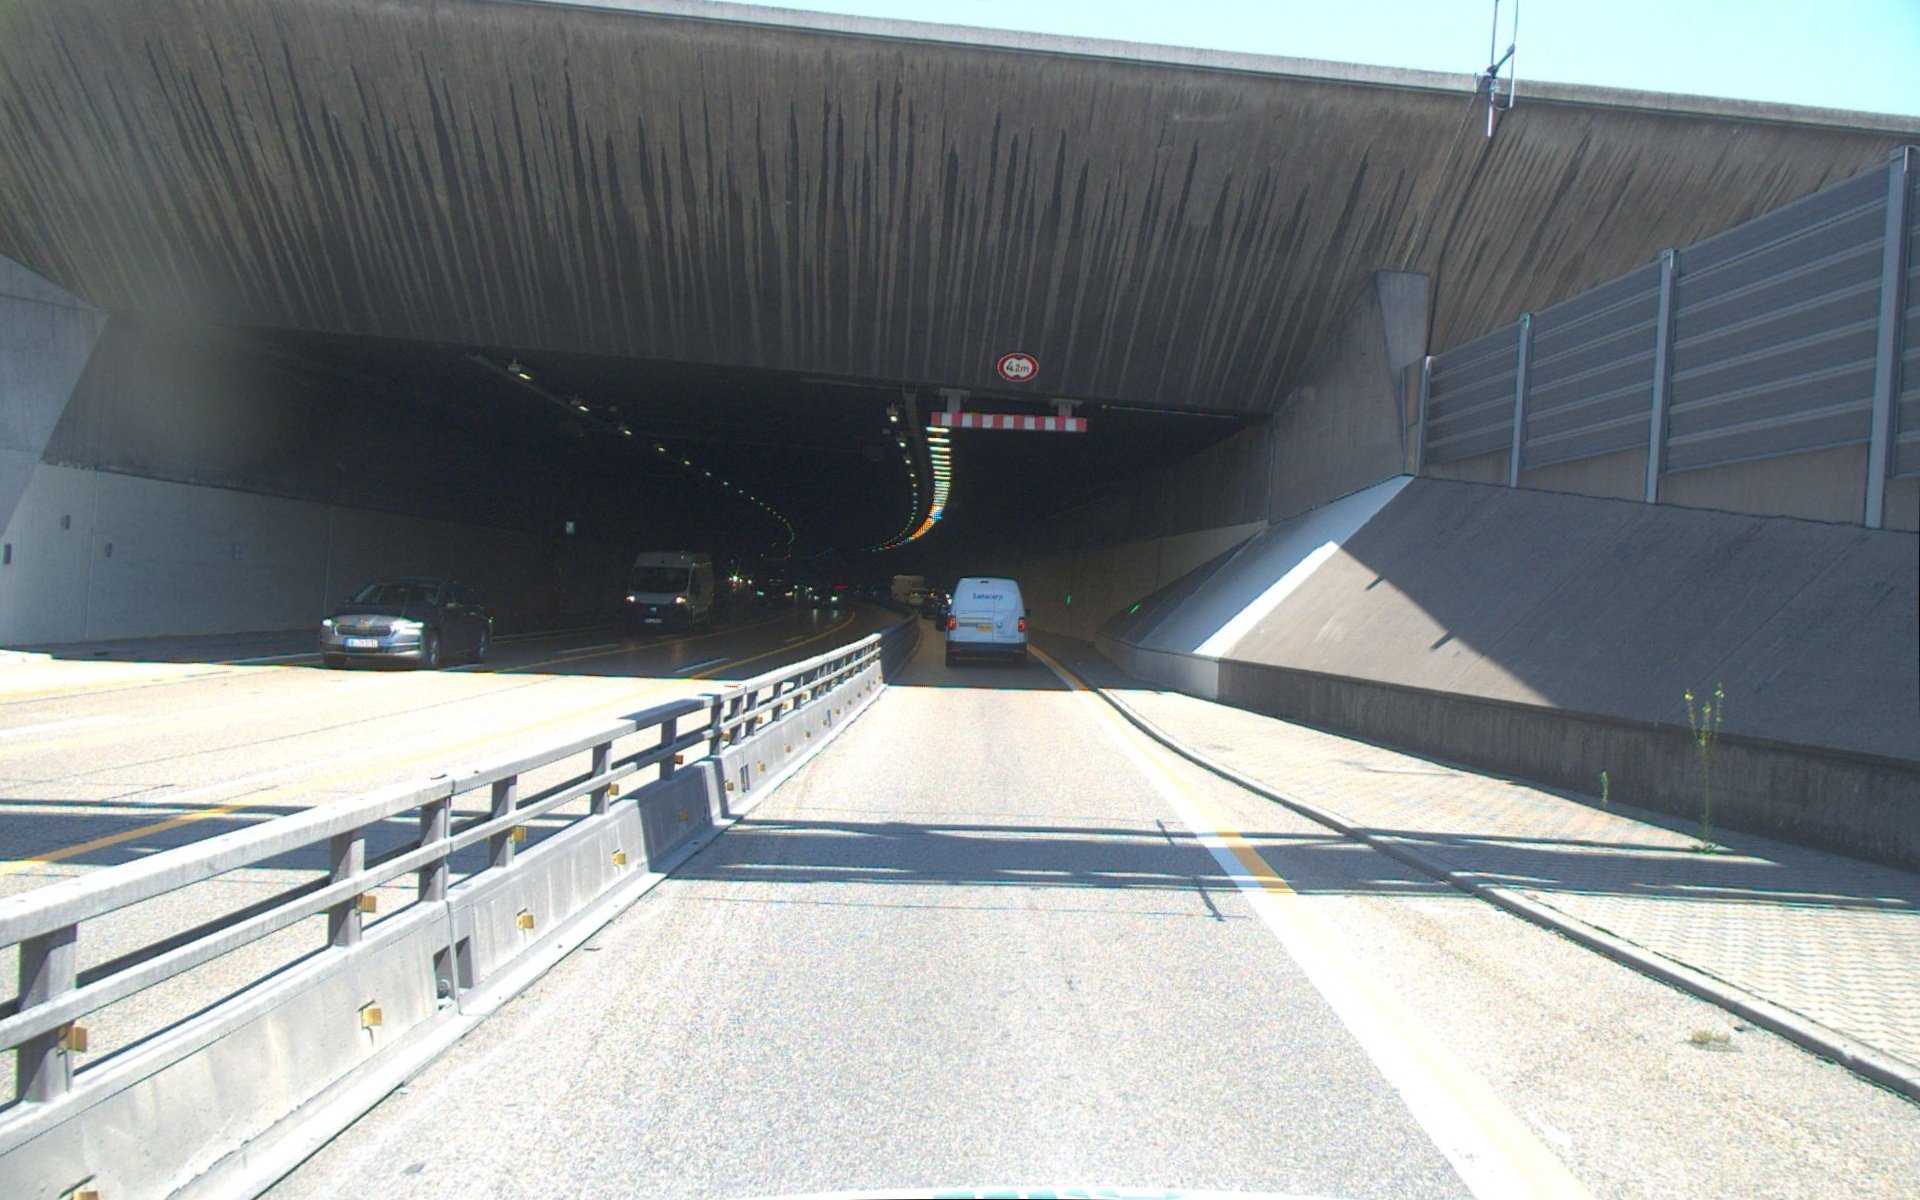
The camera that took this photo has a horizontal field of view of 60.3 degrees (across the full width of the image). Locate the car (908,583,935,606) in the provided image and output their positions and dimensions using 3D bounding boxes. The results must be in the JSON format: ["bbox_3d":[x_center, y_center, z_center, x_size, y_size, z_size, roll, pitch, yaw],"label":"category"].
[{"bbox_3d":[-2.672,-0.387,112.870,1.567,1.573,3.673,1,0,-6],"label":"car"}]

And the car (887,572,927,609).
[{"bbox_3d":[-4.269,-0.714,131.700,2.759,2.822,7.094,2,0,-5],"label":"car"}]

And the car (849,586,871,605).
[{"bbox_3d":[-11.053,-0.521,183.125,1.904,2.056,4.652,1,0,-9],"label":"car"}]

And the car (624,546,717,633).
[{"bbox_3d":[-9.040,-0.344,52.070,1.953,2.559,6.040,1,1,-1],"label":"car"}]

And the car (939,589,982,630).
[{"bbox_3d":[-0.006,0.373,66.408,1.566,1.573,3.676,1,0,-2],"label":"car"}]

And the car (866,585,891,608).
[{"bbox_3d":[-8.312,-0.383,167.870,1.997,2.056,4.624,5,0,-8],"label":"car"}]

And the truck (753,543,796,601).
[{"bbox_3d":[-13.040,-1.948,116.637,2.755,3.984,6.450,1,0,-5],"label":"truck"}]

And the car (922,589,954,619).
[{"bbox_3d":[-1.212,0.216,89.642,1.567,1.573,3.675,2,0,-3],"label":"car"}]

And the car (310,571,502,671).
[{"bbox_3d":[-9.286,0.300,28.121,1.737,1.542,4.564,1,1,-1],"label":"car"}]

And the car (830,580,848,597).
[{"bbox_3d":[-15.708,-1.508,214.440,1.904,2.056,4.652,1,0,-9],"label":"car"}]

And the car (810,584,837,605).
[{"bbox_3d":[-9.643,-0.402,116.576,1.786,1.482,4.088,1,0,-5],"label":"car"}]

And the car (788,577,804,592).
[{"bbox_3d":[-23.207,-2.199,234.190,1.892,1.880,4.349,0,3,-12],"label":"car"}]

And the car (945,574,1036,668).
[{"bbox_3d":[0.611,0.443,35.643,1.772,1.825,3.730,3,0,0],"label":"car"}]
